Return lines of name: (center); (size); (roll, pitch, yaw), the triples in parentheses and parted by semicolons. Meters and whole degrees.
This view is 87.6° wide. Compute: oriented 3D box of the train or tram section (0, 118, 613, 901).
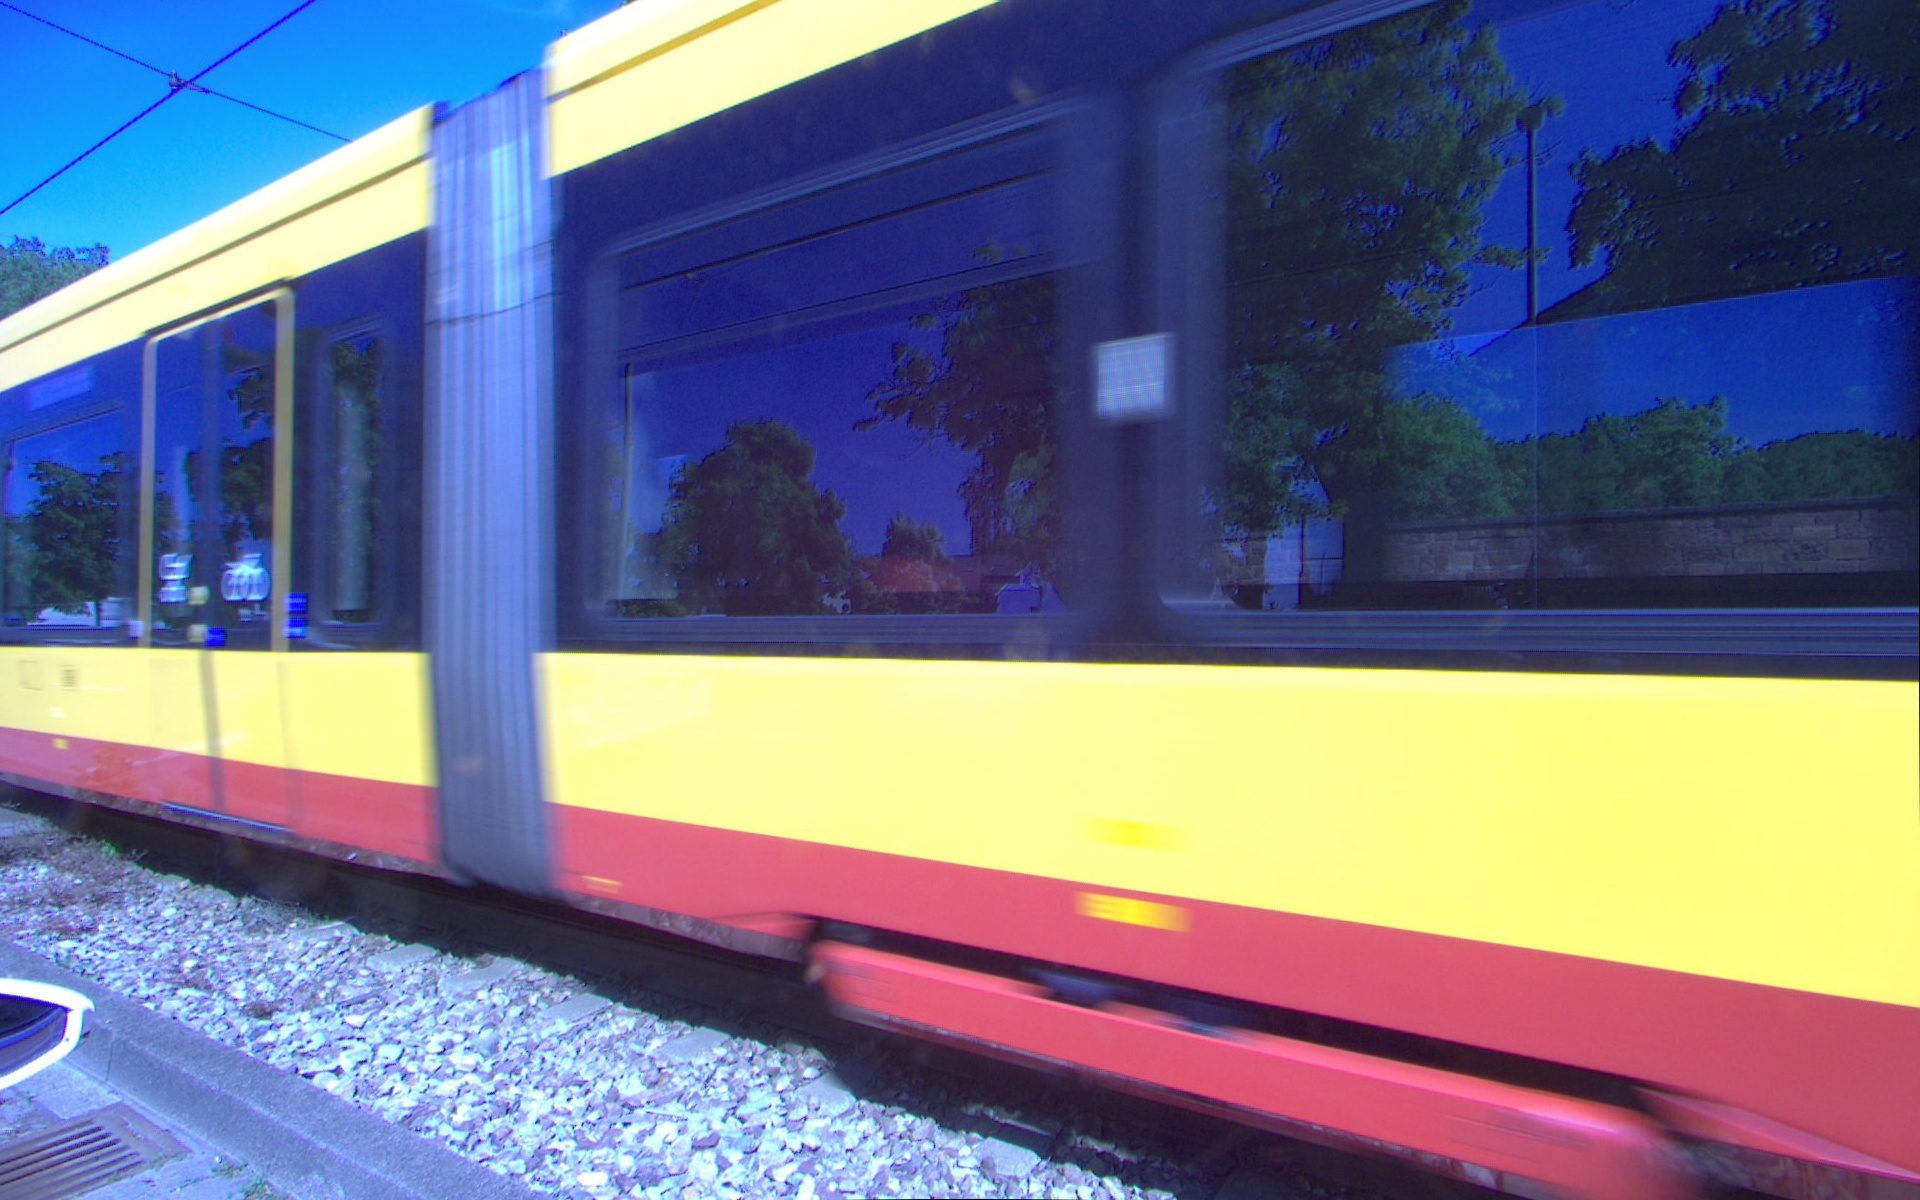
train or tram section: (-7.743, -0.386, 9.011); (10.387, 3.907, 2.864); (-1, 1, 32)

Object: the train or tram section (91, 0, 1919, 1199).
train or tram section: (1.615, -0.403, 2.938); (12.214, 3.907, 2.864); (-1, 1, 32)
